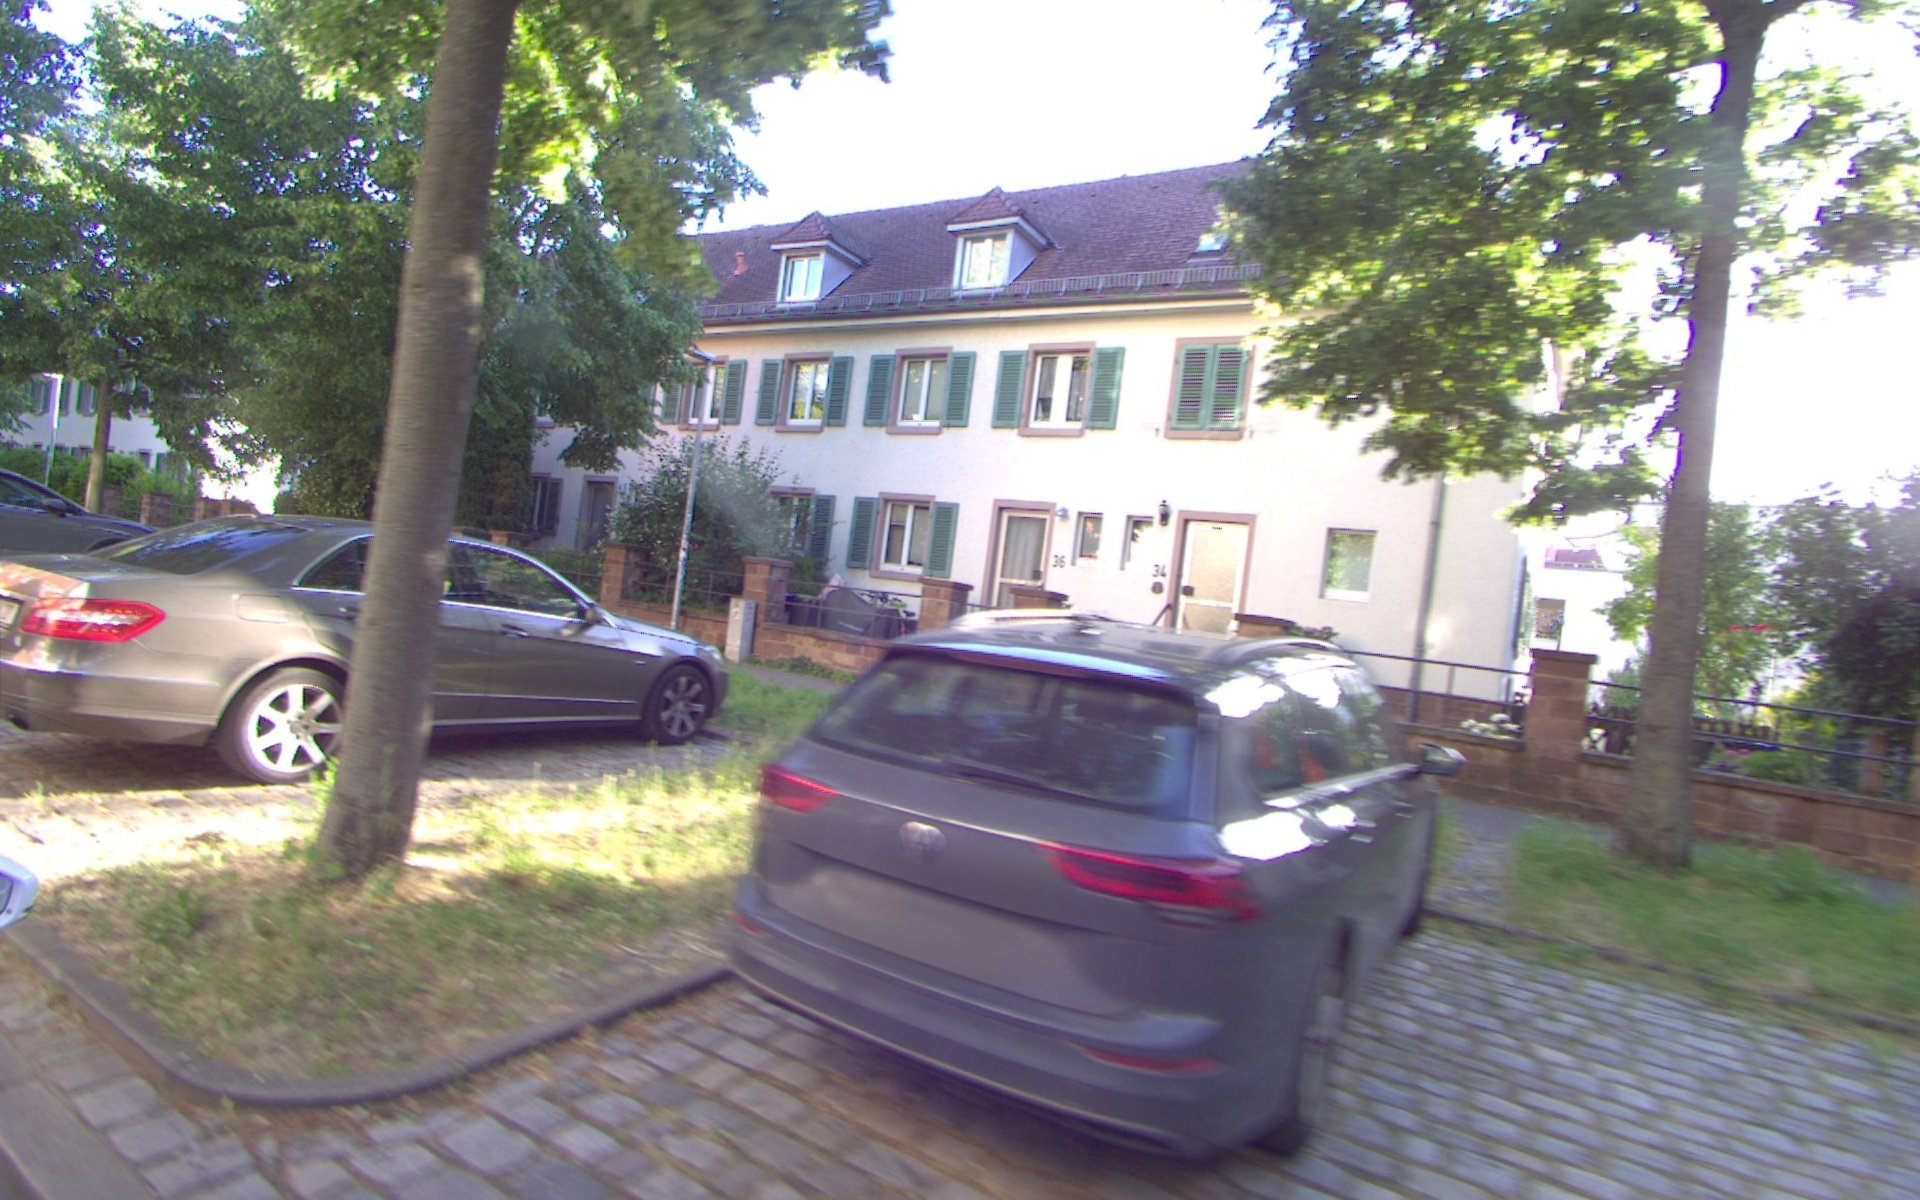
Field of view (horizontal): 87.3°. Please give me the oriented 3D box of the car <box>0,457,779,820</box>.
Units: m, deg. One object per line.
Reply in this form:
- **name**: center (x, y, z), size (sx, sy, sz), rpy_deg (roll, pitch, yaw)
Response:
- **car**: center (-3.600, 0.142, 6.898), size (1.862, 1.560, 4.839), rpy_deg (7, 2, 30)

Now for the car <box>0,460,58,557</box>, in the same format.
- **car**: center (-19.101, -1.833, 17.620), size (1.876, 1.699, 4.580), rpy_deg (7, 2, 34)

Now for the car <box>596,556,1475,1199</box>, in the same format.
- **car**: center (0.929, 0.753, 4.327), size (1.798, 1.455, 4.476), rpy_deg (7, 2, 32)

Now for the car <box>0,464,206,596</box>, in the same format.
- **car**: center (-13.270, -1.035, 13.642), size (1.844, 1.655, 4.477), rpy_deg (7, 2, 31)
